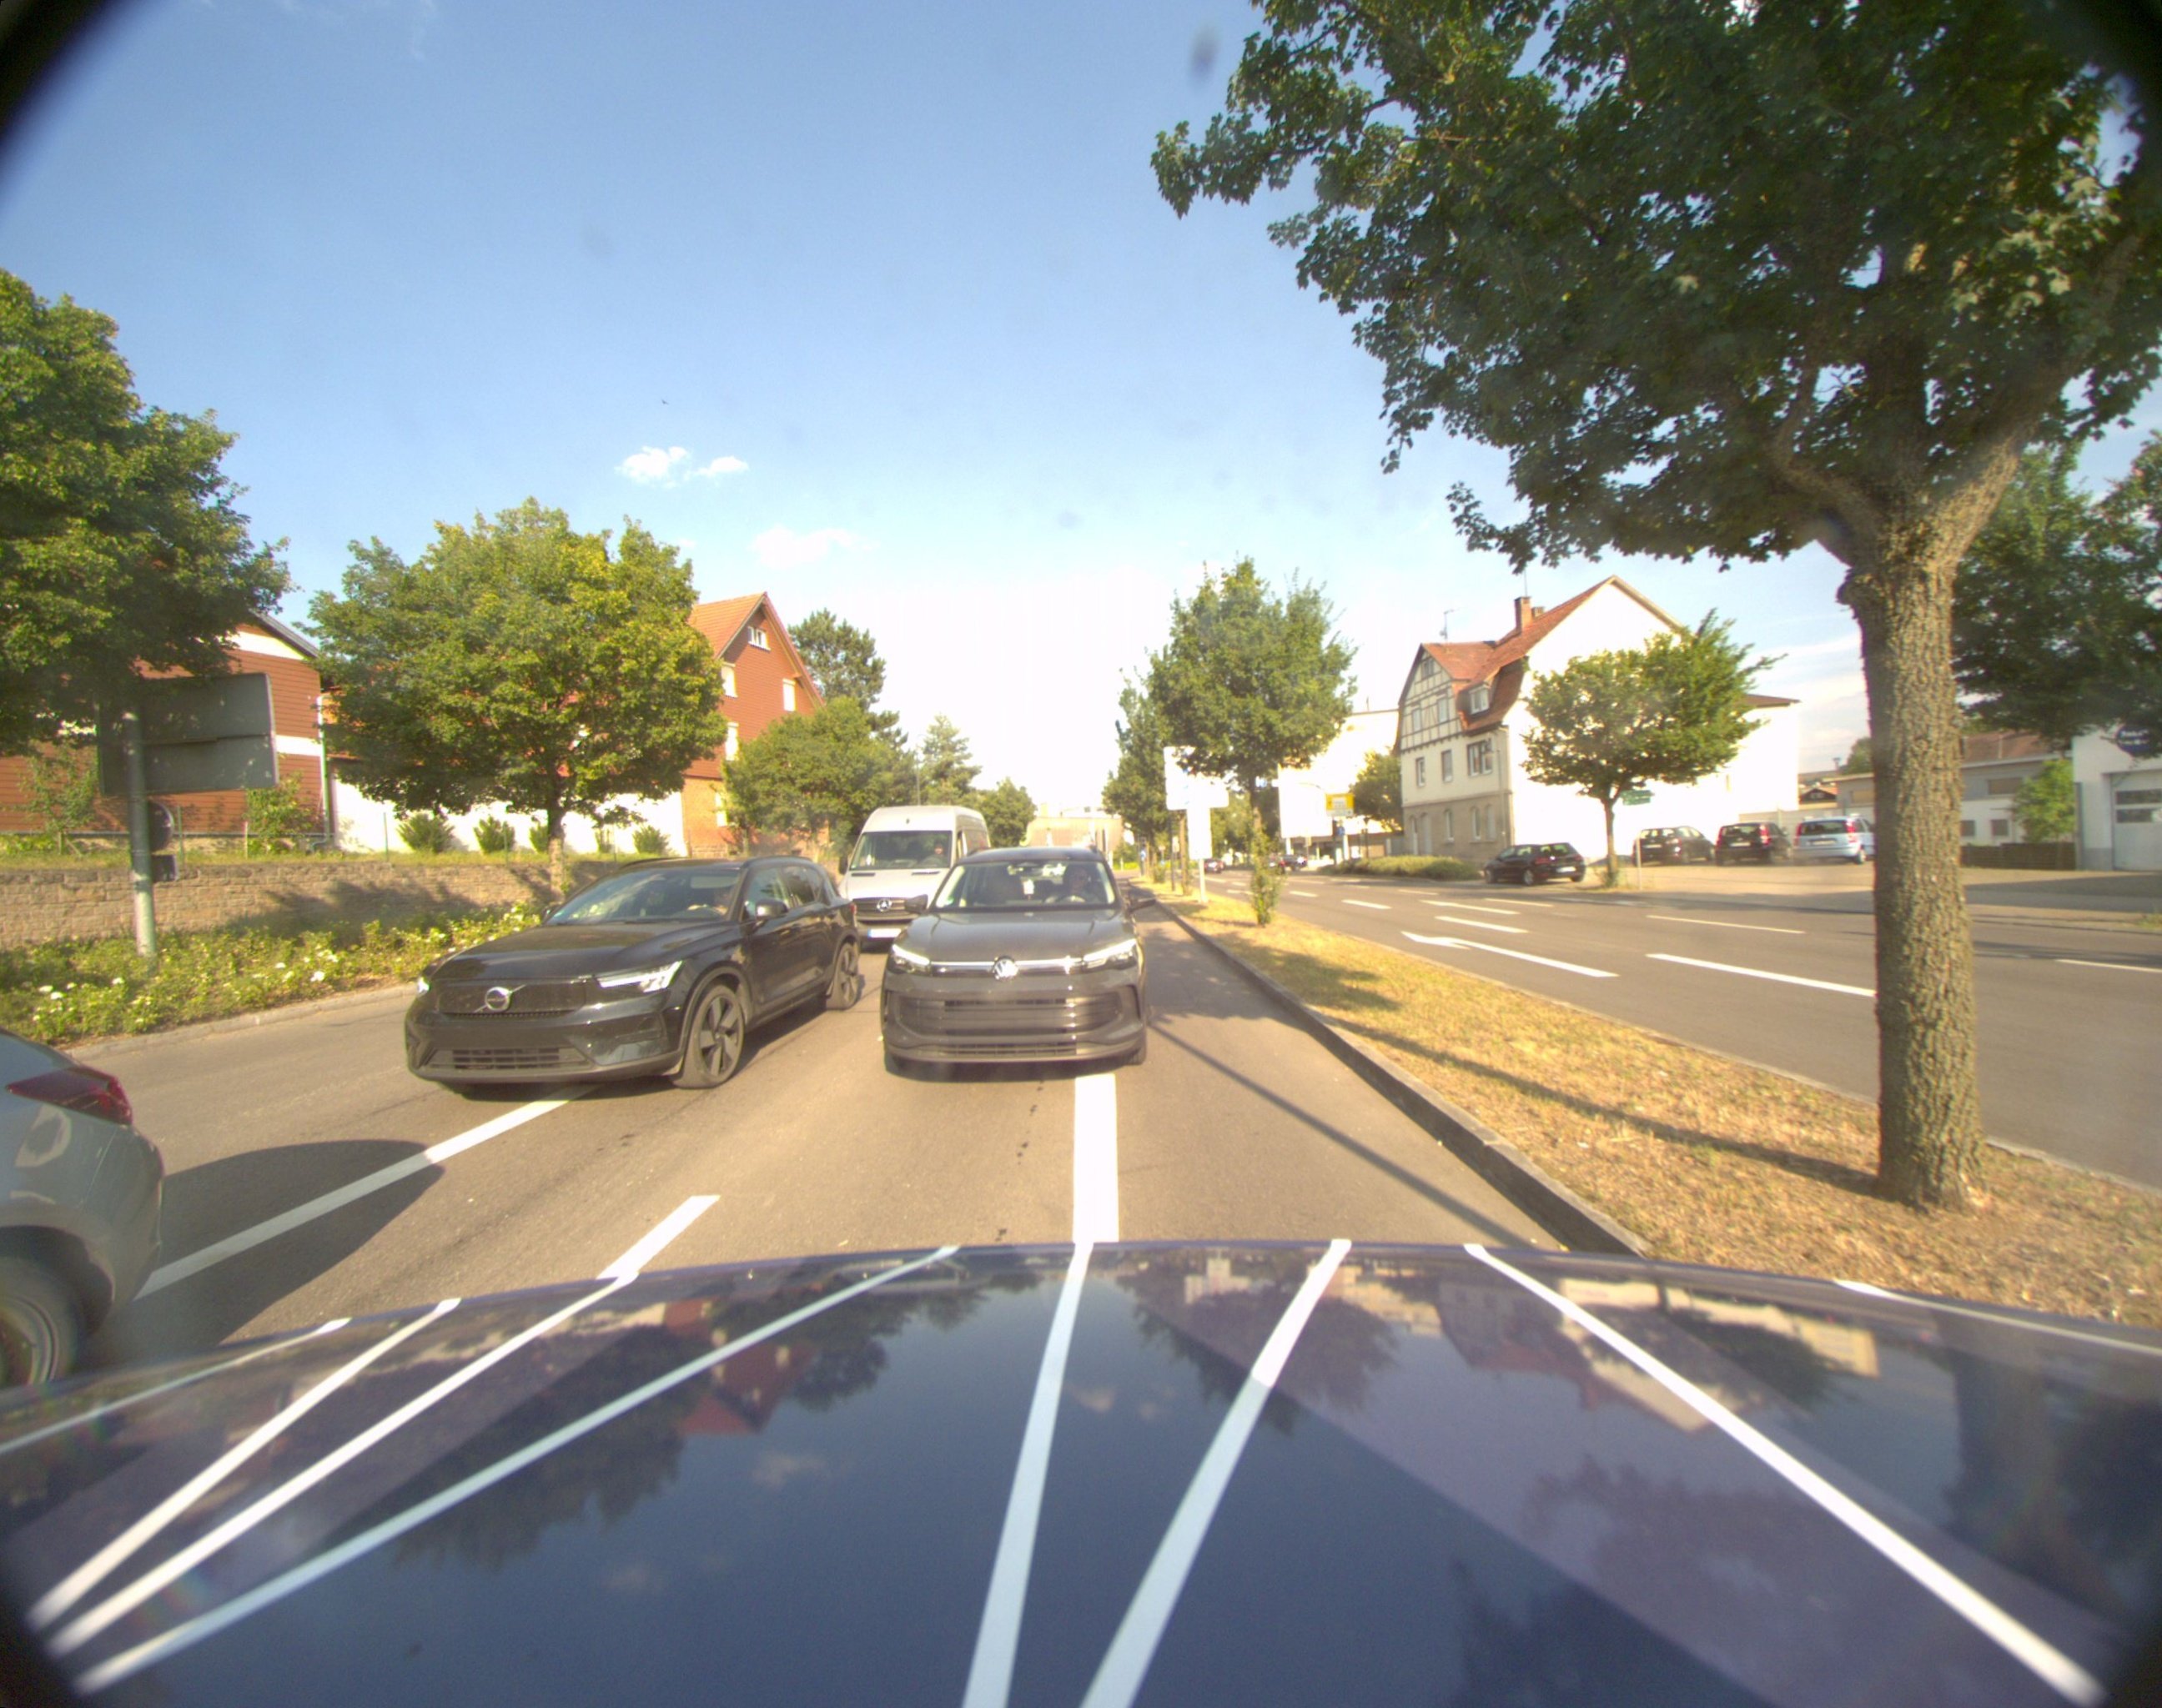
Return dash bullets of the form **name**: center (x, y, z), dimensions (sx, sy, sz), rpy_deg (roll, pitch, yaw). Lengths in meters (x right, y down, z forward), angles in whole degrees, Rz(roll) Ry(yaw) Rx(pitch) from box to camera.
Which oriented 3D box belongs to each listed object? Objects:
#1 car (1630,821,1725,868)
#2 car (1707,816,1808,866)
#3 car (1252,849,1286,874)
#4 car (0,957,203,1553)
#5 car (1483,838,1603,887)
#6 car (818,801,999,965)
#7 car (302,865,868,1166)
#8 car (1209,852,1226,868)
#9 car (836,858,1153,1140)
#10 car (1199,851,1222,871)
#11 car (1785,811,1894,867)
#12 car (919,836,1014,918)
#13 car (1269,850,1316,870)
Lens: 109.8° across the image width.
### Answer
- **car**: center (23.377, -0.391, 29.756), dimensions (3.830, 1.493, 1.816), rpy_deg (-5, 0, -35)
- **car**: center (24.655, -0.489, 27.659), dimensions (3.830, 1.493, 1.816), rpy_deg (-5, 0, -35)
- **car**: center (13.949, 0.525, 56.558), dimensions (1.781, 1.683, 4.001), rpy_deg (-2, 0, 4)
- **car**: center (-3.613, 1.060, 0.183), dimensions (1.766, 1.445, 4.318), rpy_deg (-1, 0, 0)
- **car**: center (16.031, 0.281, 26.621), dimensions (1.818, 1.442, 3.825), rpy_deg (-5, 0, 1)
- **car**: center (-3.038, 0.446, 14.959), dimensions (1.992, 2.554, 6.046), rpy_deg (-1, 0, 2)
- **car**: center (-3.400, 0.946, 6.431), dimensions (1.845, 1.600, 4.318), rpy_deg (-1, 0, 2)
- **car**: center (15.853, 0.674, 87.931), dimensions (1.780, 1.683, 4.003), rpy_deg (-2, 0, 12)
- **car**: center (-0.452, 0.872, 6.620), dimensions (1.845, 1.600, 4.318), rpy_deg (-1, 0, 2)
- **car**: center (11.598, 0.614, 68.027), dimensions (1.780, 1.683, 4.002), rpy_deg (-2, 0, 7)
- **car**: center (24.878, -0.503, 24.894), dimensions (3.830, 1.493, 1.816), rpy_deg (-5, 0, -35)
- **car**: center (-3.017, 0.559, 20.954), dimensions (1.845, 2.018, 4.318), rpy_deg (-1, 0, 2)
- **car**: center (19.221, 0.544, 69.270), dimensions (3.993, 1.664, 1.789), rpy_deg (-2, 1, 12)
